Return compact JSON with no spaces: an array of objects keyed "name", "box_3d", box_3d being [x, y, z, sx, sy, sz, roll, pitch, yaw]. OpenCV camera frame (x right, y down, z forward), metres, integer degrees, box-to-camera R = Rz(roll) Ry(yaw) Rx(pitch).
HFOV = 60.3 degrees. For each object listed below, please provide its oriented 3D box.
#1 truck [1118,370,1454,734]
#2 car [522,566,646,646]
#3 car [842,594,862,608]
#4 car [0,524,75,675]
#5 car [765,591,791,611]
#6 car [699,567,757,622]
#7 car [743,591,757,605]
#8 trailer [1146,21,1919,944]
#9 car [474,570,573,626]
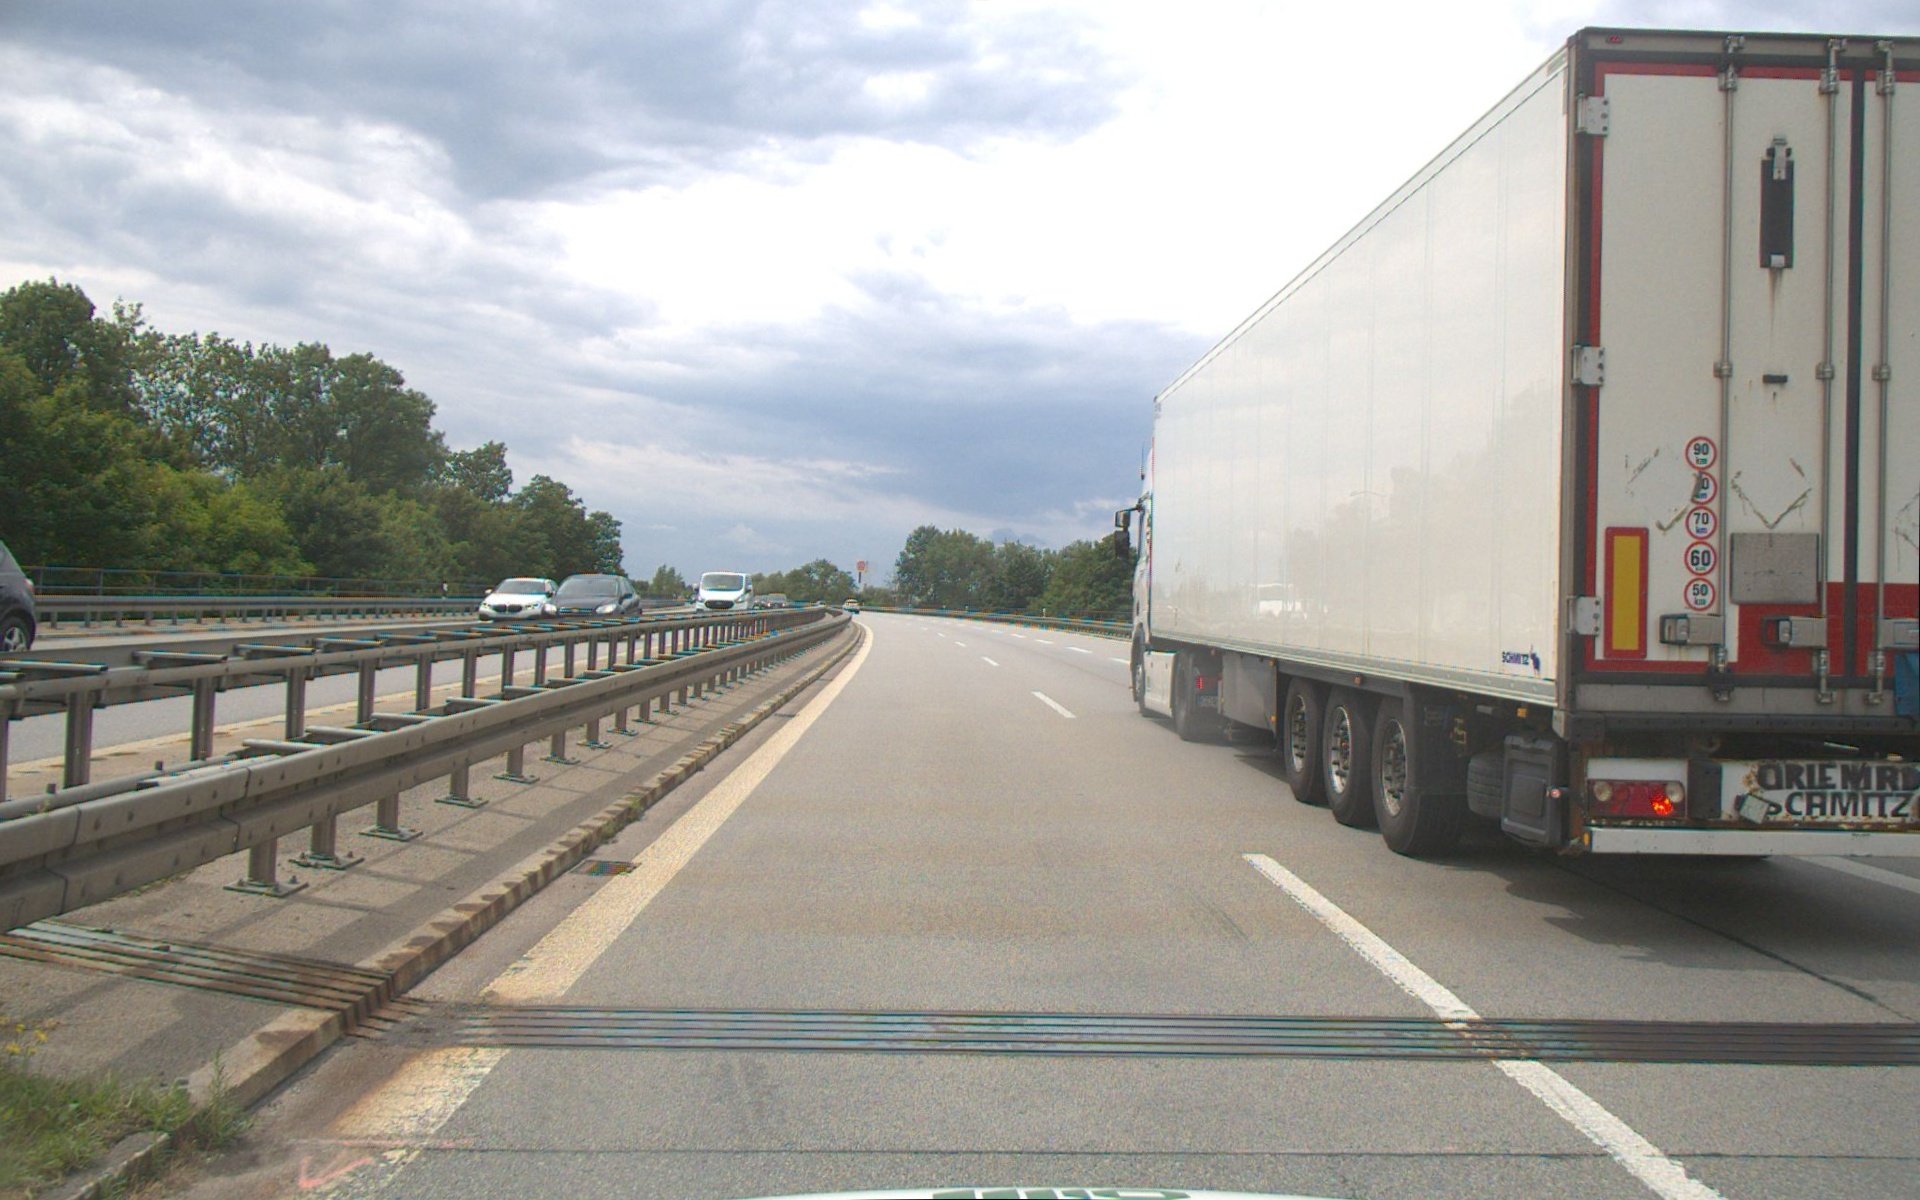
[{"name":"truck","box_3d":[3.894,-0.543,21.306,3.000,3.960,5.999,1,0,-1]},{"name":"car","box_3d":[-8.593,0.125,38.207,1.808,1.640,4.945,2,0,-2]},{"name":"car","box_3d":[-13.344,0.132,204.493,1.868,1.668,4.384,2,-1,-11]},{"name":"car","box_3d":[-10.907,-0.024,16.631,1.694,1.587,4.331,2,0,-1]},{"name":"car","box_3d":[-13.087,0.056,119.113,1.652,1.400,4.355,0,0,-4]},{"name":"car","box_3d":[-8.819,-0.217,63.265,1.737,1.944,4.711,3,0,-4]},{"name":"car","box_3d":[-27.516,-0.269,217.109,1.621,1.568,3.992,5,0,-9]},{"name":"trailer","box_3d":[3.992,-0.518,14.074,3.000,3.958,13.788,1,0,-1]},{"name":"car","box_3d":[-12.103,-0.049,46.077,1.808,1.463,3.934,1,0,-2]}]
